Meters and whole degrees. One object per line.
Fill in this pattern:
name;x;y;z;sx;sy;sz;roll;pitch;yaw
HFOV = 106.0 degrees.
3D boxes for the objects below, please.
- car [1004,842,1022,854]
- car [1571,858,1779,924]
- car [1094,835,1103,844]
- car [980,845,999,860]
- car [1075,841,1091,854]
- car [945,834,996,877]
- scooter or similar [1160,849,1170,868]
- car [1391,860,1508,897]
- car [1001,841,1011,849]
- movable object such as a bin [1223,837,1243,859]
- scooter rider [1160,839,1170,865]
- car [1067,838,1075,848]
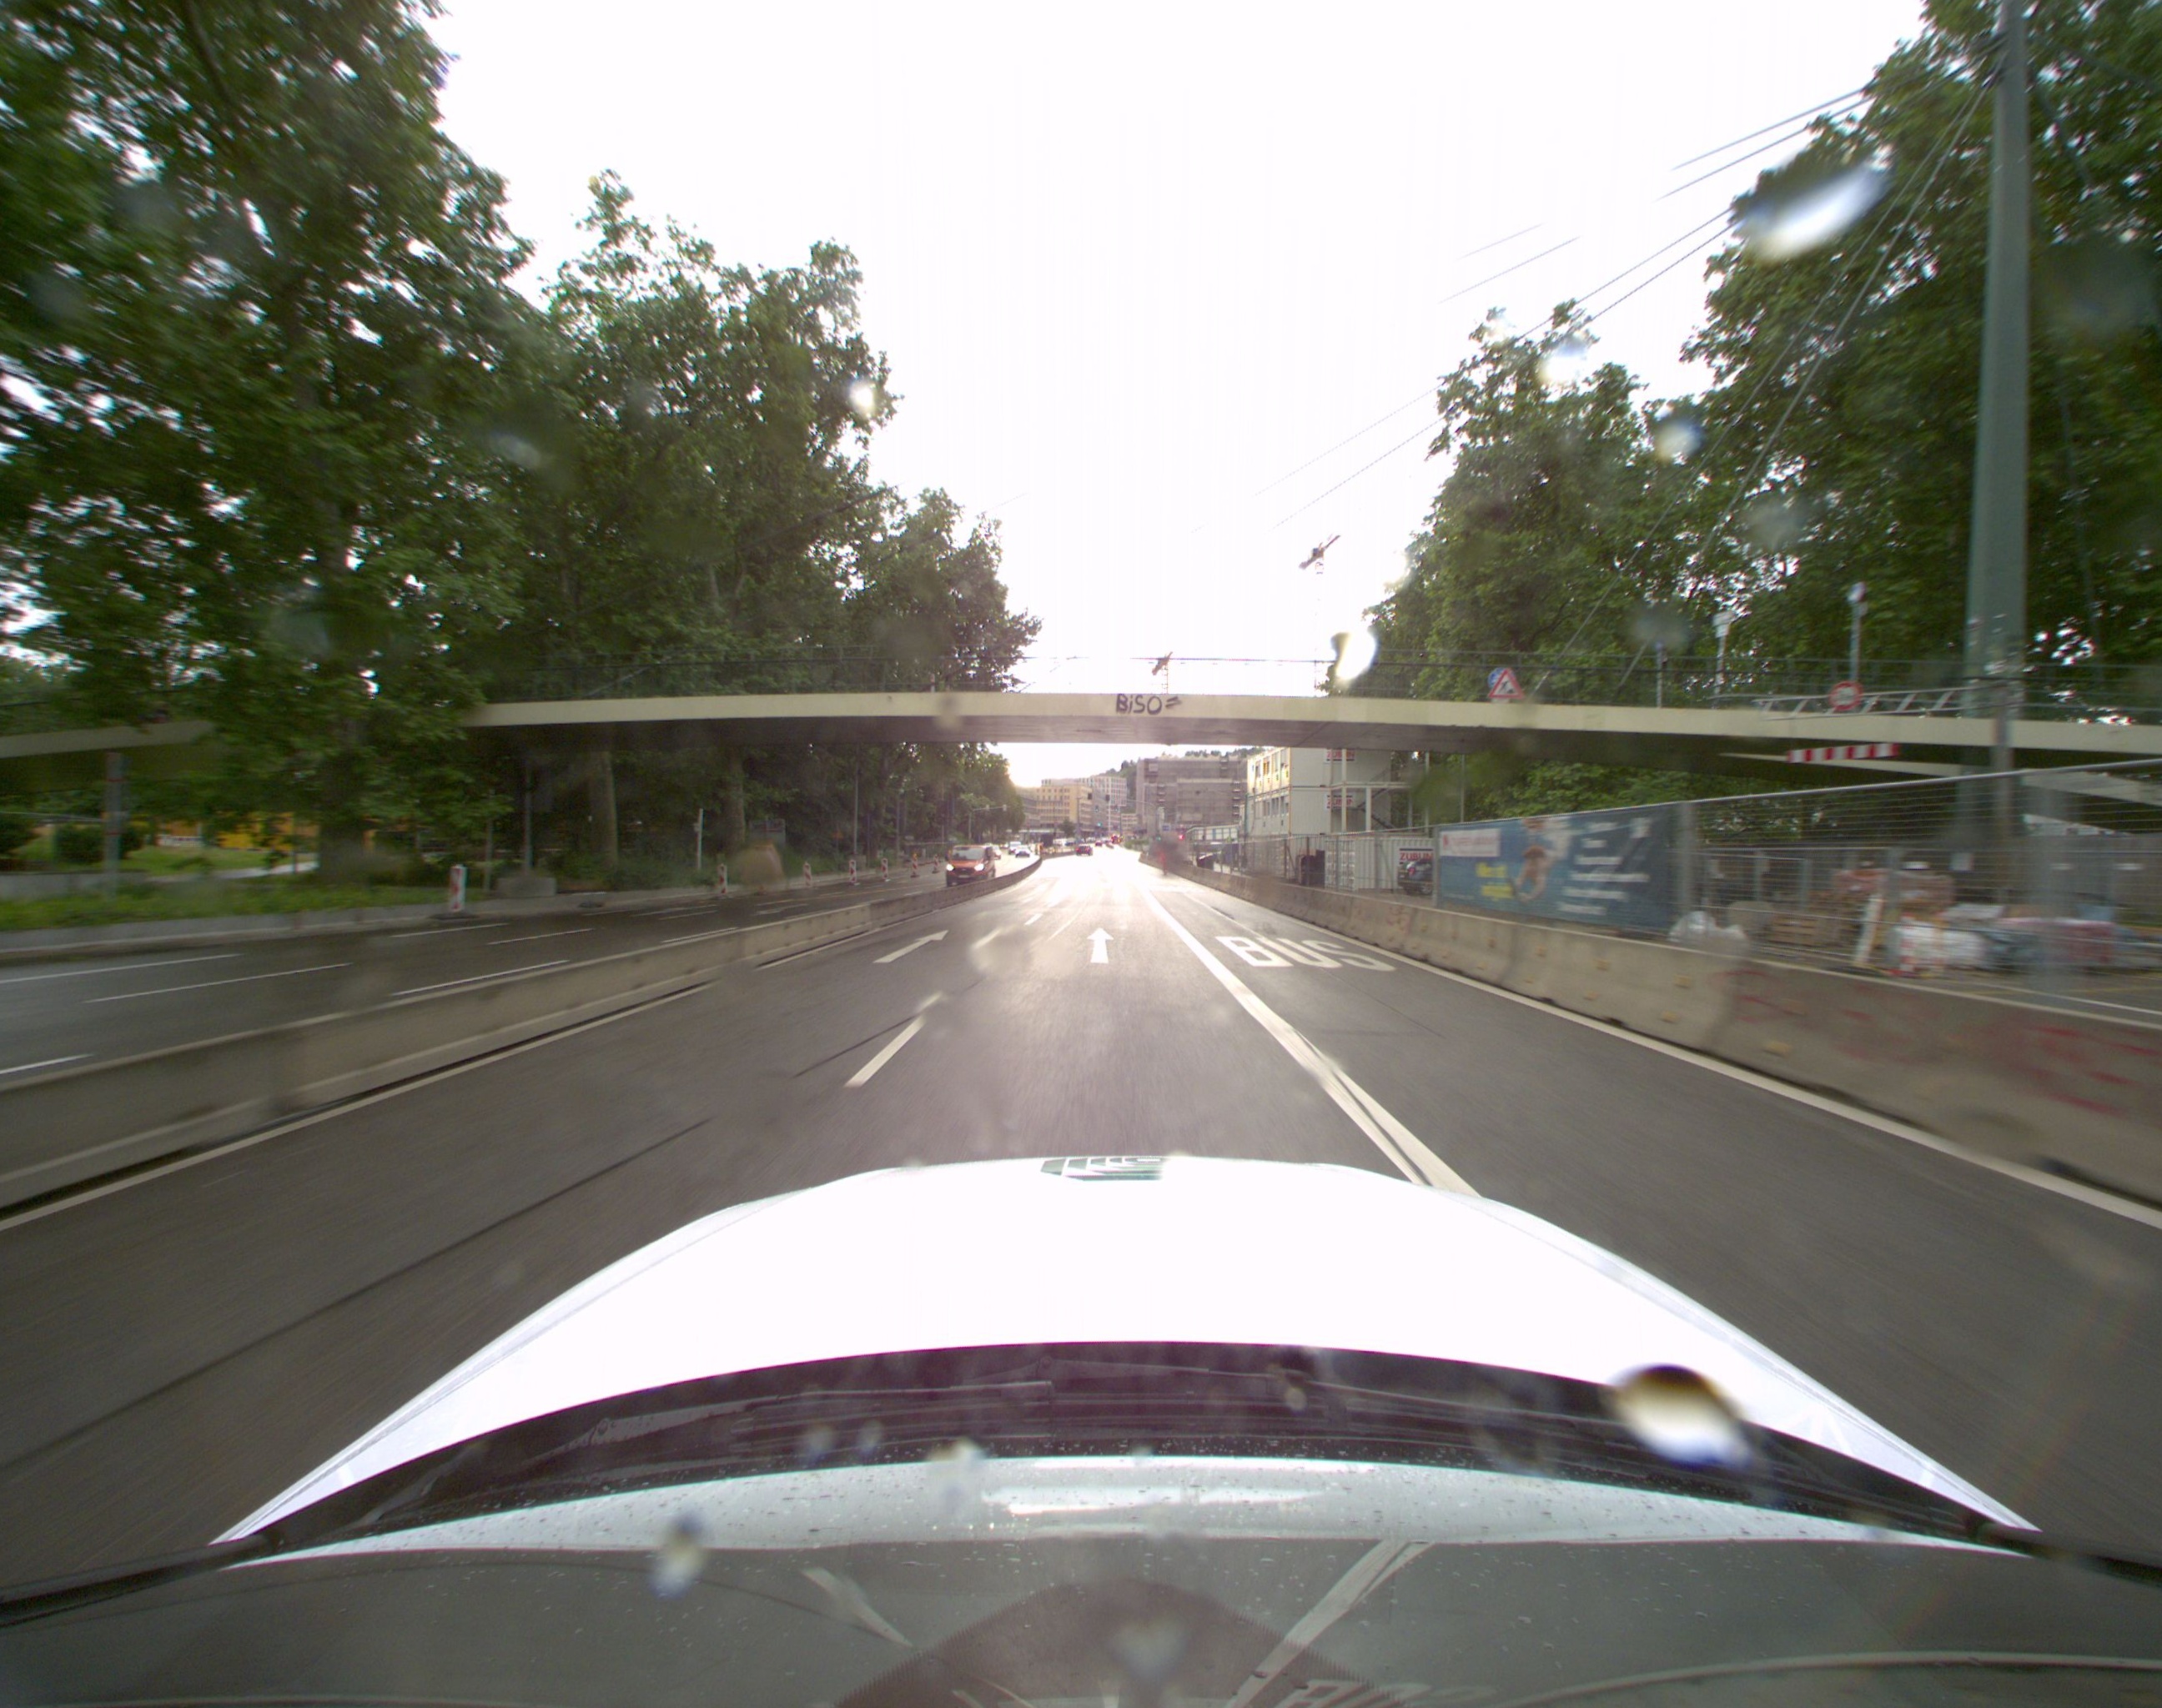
car;-9.607;-0.833;115.437;2.024;1.653;4.910;-2;-1;0
car;16.463;1.001;22.711;4.490;1.728;1.997;1;-1;-5
car;4.392;-3.551;205.224;1.986;2.014;4.001;-1;-2;2
car;-10.448;-0.209;93.190;2.027;1.653;4.312;0;1;-5
car;0.216;-0.806;106.088;1.897;1.528;4.173;-1;-2;-2
car;-5.494;0.135;41.109;2.025;1.937;5.039;-1;-2;-2
scooter or similar;5.788;0.322;56.181;0.595;1.319;1.668;1;0;3
car;16.783;1.097;37.216;4.530;1.629;1.787;0;0;-2
car;-15.884;-1.865;171.719;1.990;1.541;4.438;-1;-2;-4
movable object such as a bin;15.180;-0.618;81.413;1.462;2.203;1.255;0;1;-23
scooter rider;5.797;-0.125;56.141;0.595;1.786;0.998;1;0;3
car;-2.360;-2.675;192.080;1.897;2.083;4.173;-1;-2;-2
